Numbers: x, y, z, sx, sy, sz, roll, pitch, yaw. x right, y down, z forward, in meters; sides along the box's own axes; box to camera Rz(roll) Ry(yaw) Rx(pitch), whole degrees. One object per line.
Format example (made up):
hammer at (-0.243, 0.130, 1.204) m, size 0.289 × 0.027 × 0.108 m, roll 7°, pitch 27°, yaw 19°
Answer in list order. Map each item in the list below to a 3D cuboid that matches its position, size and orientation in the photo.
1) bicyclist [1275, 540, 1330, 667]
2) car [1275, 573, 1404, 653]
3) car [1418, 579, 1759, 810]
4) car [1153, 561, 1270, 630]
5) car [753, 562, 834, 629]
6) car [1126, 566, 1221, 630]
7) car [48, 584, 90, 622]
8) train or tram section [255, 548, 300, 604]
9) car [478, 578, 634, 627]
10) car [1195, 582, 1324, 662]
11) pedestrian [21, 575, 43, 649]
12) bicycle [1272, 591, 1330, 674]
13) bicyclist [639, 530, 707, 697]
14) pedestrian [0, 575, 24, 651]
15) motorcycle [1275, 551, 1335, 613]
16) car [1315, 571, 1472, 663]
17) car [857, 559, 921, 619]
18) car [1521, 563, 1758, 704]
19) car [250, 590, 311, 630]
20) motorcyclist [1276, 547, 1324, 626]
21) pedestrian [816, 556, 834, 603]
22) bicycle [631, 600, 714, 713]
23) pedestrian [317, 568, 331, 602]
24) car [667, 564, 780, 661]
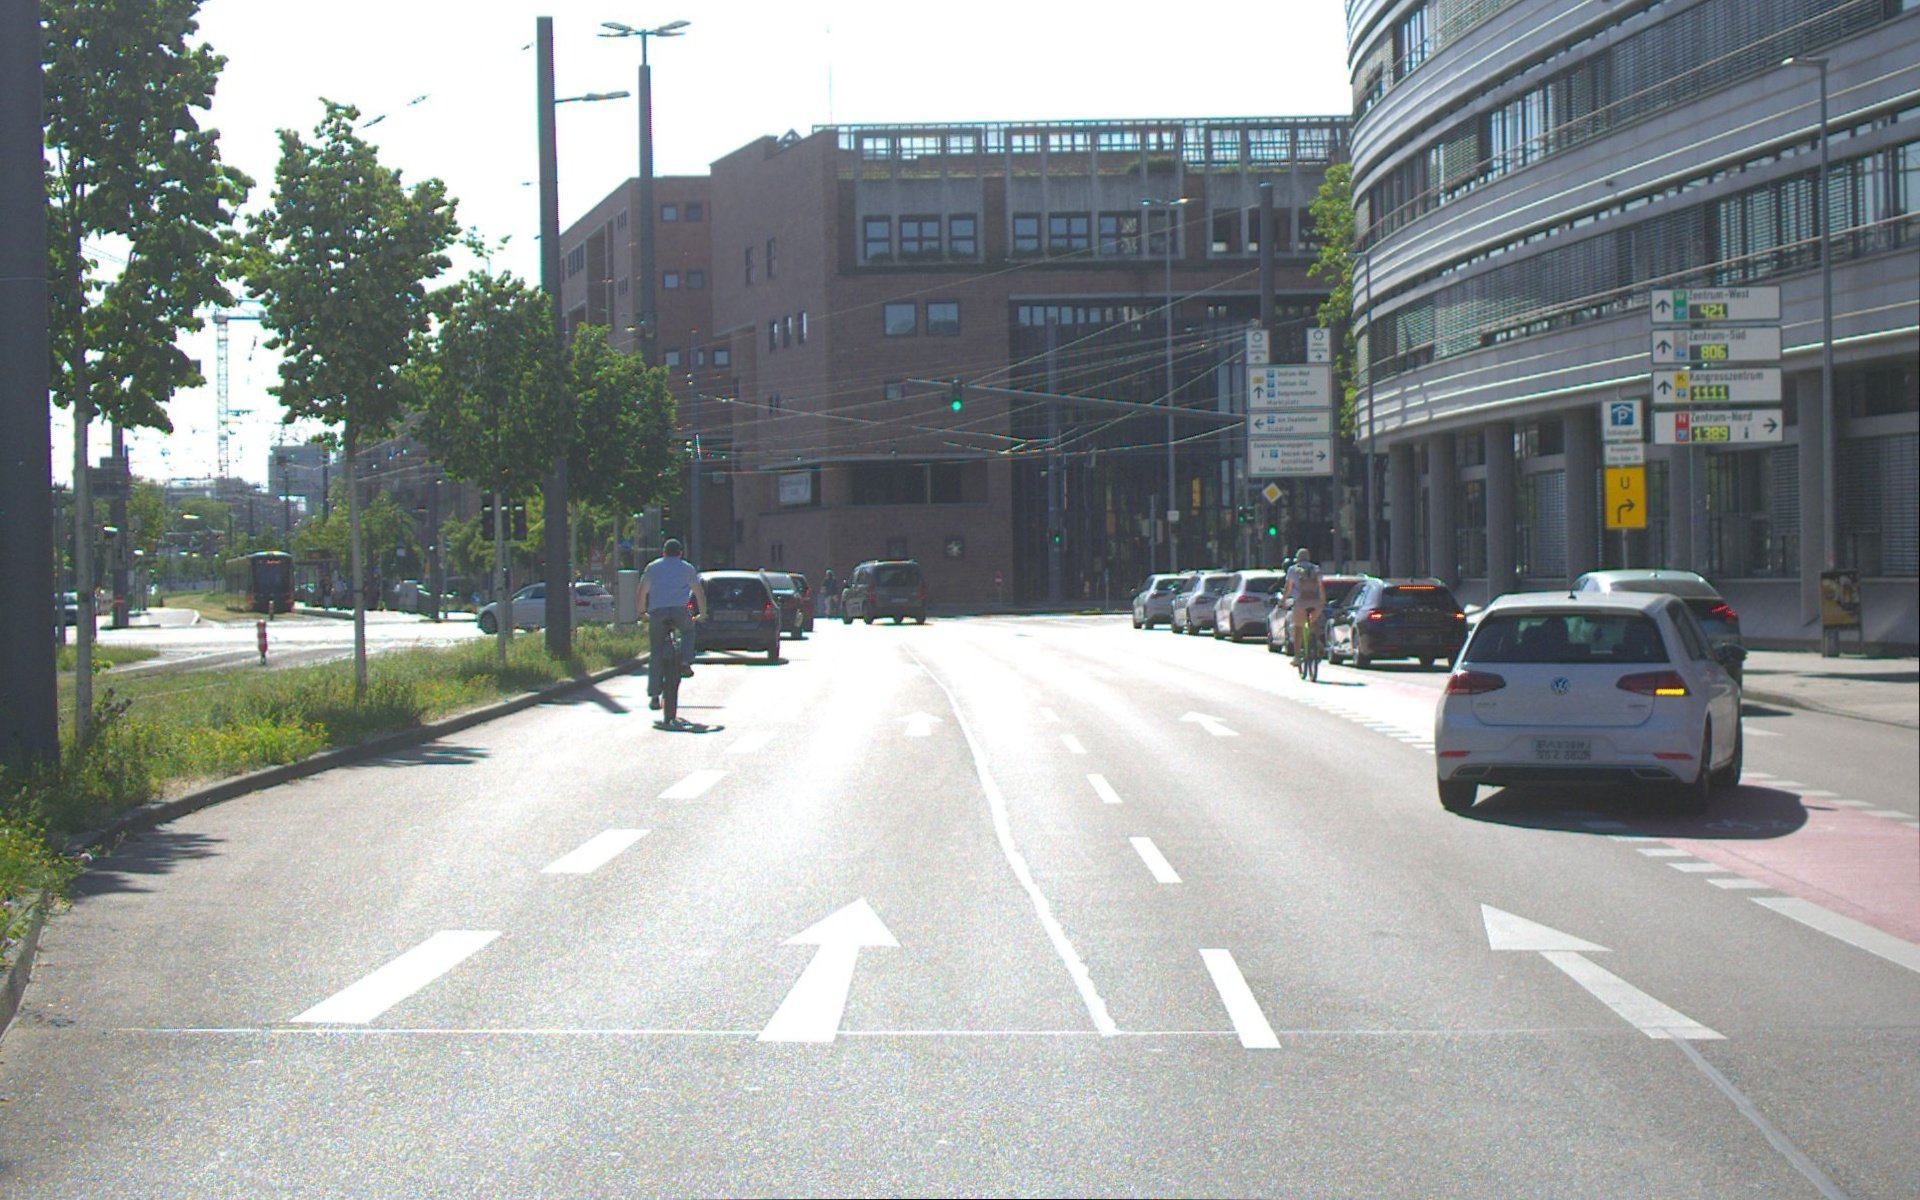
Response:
bicyclist at (4.828, 0.043, 48.486) m, size 0.649 × 1.746 × 1.045 m, roll -1°, pitch 1°, yaw 1°
car at (6.971, 0.212, 63.545) m, size 1.721 × 1.391 × 4.788 m, roll -1°, pitch 1°, yaw -2°
car at (4.428, 0.577, 23.725) m, size 1.774 × 1.398 × 4.290 m, roll 1°, pitch 1°, yaw 17°
car at (5.868, -0.127, 80.682) m, size 1.905 × 1.536 × 4.139 m, roll 1°, pitch 1°, yaw -8°
car at (-3.793, -0.113, 77.768) m, size 1.726 × 1.444 × 4.522 m, roll -1°, pitch 1°, yaw -4°
car at (5.617, -0.069, 90.952) m, size 1.906 × 1.578 × 4.139 m, roll 1°, pitch 1°, yaw -5°
car at (-37.729, 0.110, 145.642) m, size 1.609 × 1.393 × 3.921 m, roll -5°, pitch 2°, yaw -14°
train or tram section at (-38.214, -1.358, 192.278) m, size 2.326 × 2.993 × 13.163 m, roll -1°, pitch 1°, yaw -12°
car at (-11.924, 0.080, 101.369) m, size 4.407 × 1.376 × 2.062 m, roll -1°, pitch 0°, yaw 38°
car at (6.404, 0.451, 73.974) m, size 1.905 × 1.578 × 4.139 m, roll 1°, pitch 1°, yaw -7°
pedestrian at (-23.268, 0.300, 86.194) m, size 0.385 × 1.825 × 0.464 m, roll -1°, pitch 1°, yaw -34°
bicycle at (4.838, 0.455, 48.832) m, size 0.649 × 1.106 × 1.758 m, roll -1°, pitch 1°, yaw 1°
bicyclist at (-2.909, 0.125, 34.899) m, size 0.617 × 1.664 × 1.020 m, roll 1°, pitch 0°, yaw -2°
pedestrian at (-23.256, 0.318, 83.993) m, size 0.581 × 1.825 × 0.498 m, roll -1°, pitch 1°, yaw -40°
motorcycle at (6.835, -0.351, 68.174) m, size 0.829 × 1.197 × 2.390 m, roll 0°, pitch 0°, yaw -3°
car at (7.010, 0.248, 55.985) m, size 1.721 × 1.417 × 4.638 m, roll -1°, pitch 1°, yaw -3°
car at (-2.112, -0.343, 101.378) m, size 1.782 × 1.697 × 4.138 m, roll 1°, pitch 1°, yaw -2°
car at (7.740, 0.341, 39.527) m, size 1.721 × 1.519 × 4.399 m, roll -1°, pitch 1°, yaw -2°
car at (-30.725, 0.438, 155.335) m, size 2.261 × 1.721 × 3.945 m, roll -1°, pitch 1°, yaw -18°
motorcyclist at (6.771, -0.275, 68.486) m, size 0.829 × 1.556 × 0.942 m, roll 0°, pitch 0°, yaw -3°
pedestrian at (-4.695, -0.718, 119.884) m, size 0.478 × 1.651 × 0.492 m, roll -1°, pitch 0°, yaw -19°
bicycle at (-2.913, 0.551, 35.040) m, size 0.686 × 1.066 × 2.697 m, roll 1°, pitch 1°, yaw -2°
pedestrian at (-31.320, -0.750, 169.291) m, size 0.538 × 1.649 × 0.707 m, roll -1°, pitch 0°, yaw -17°
car at (-3.977, 0.186, 58.268) m, size 1.726 × 1.558 × 3.678 m, roll -1°, pitch 0°, yaw -1°
